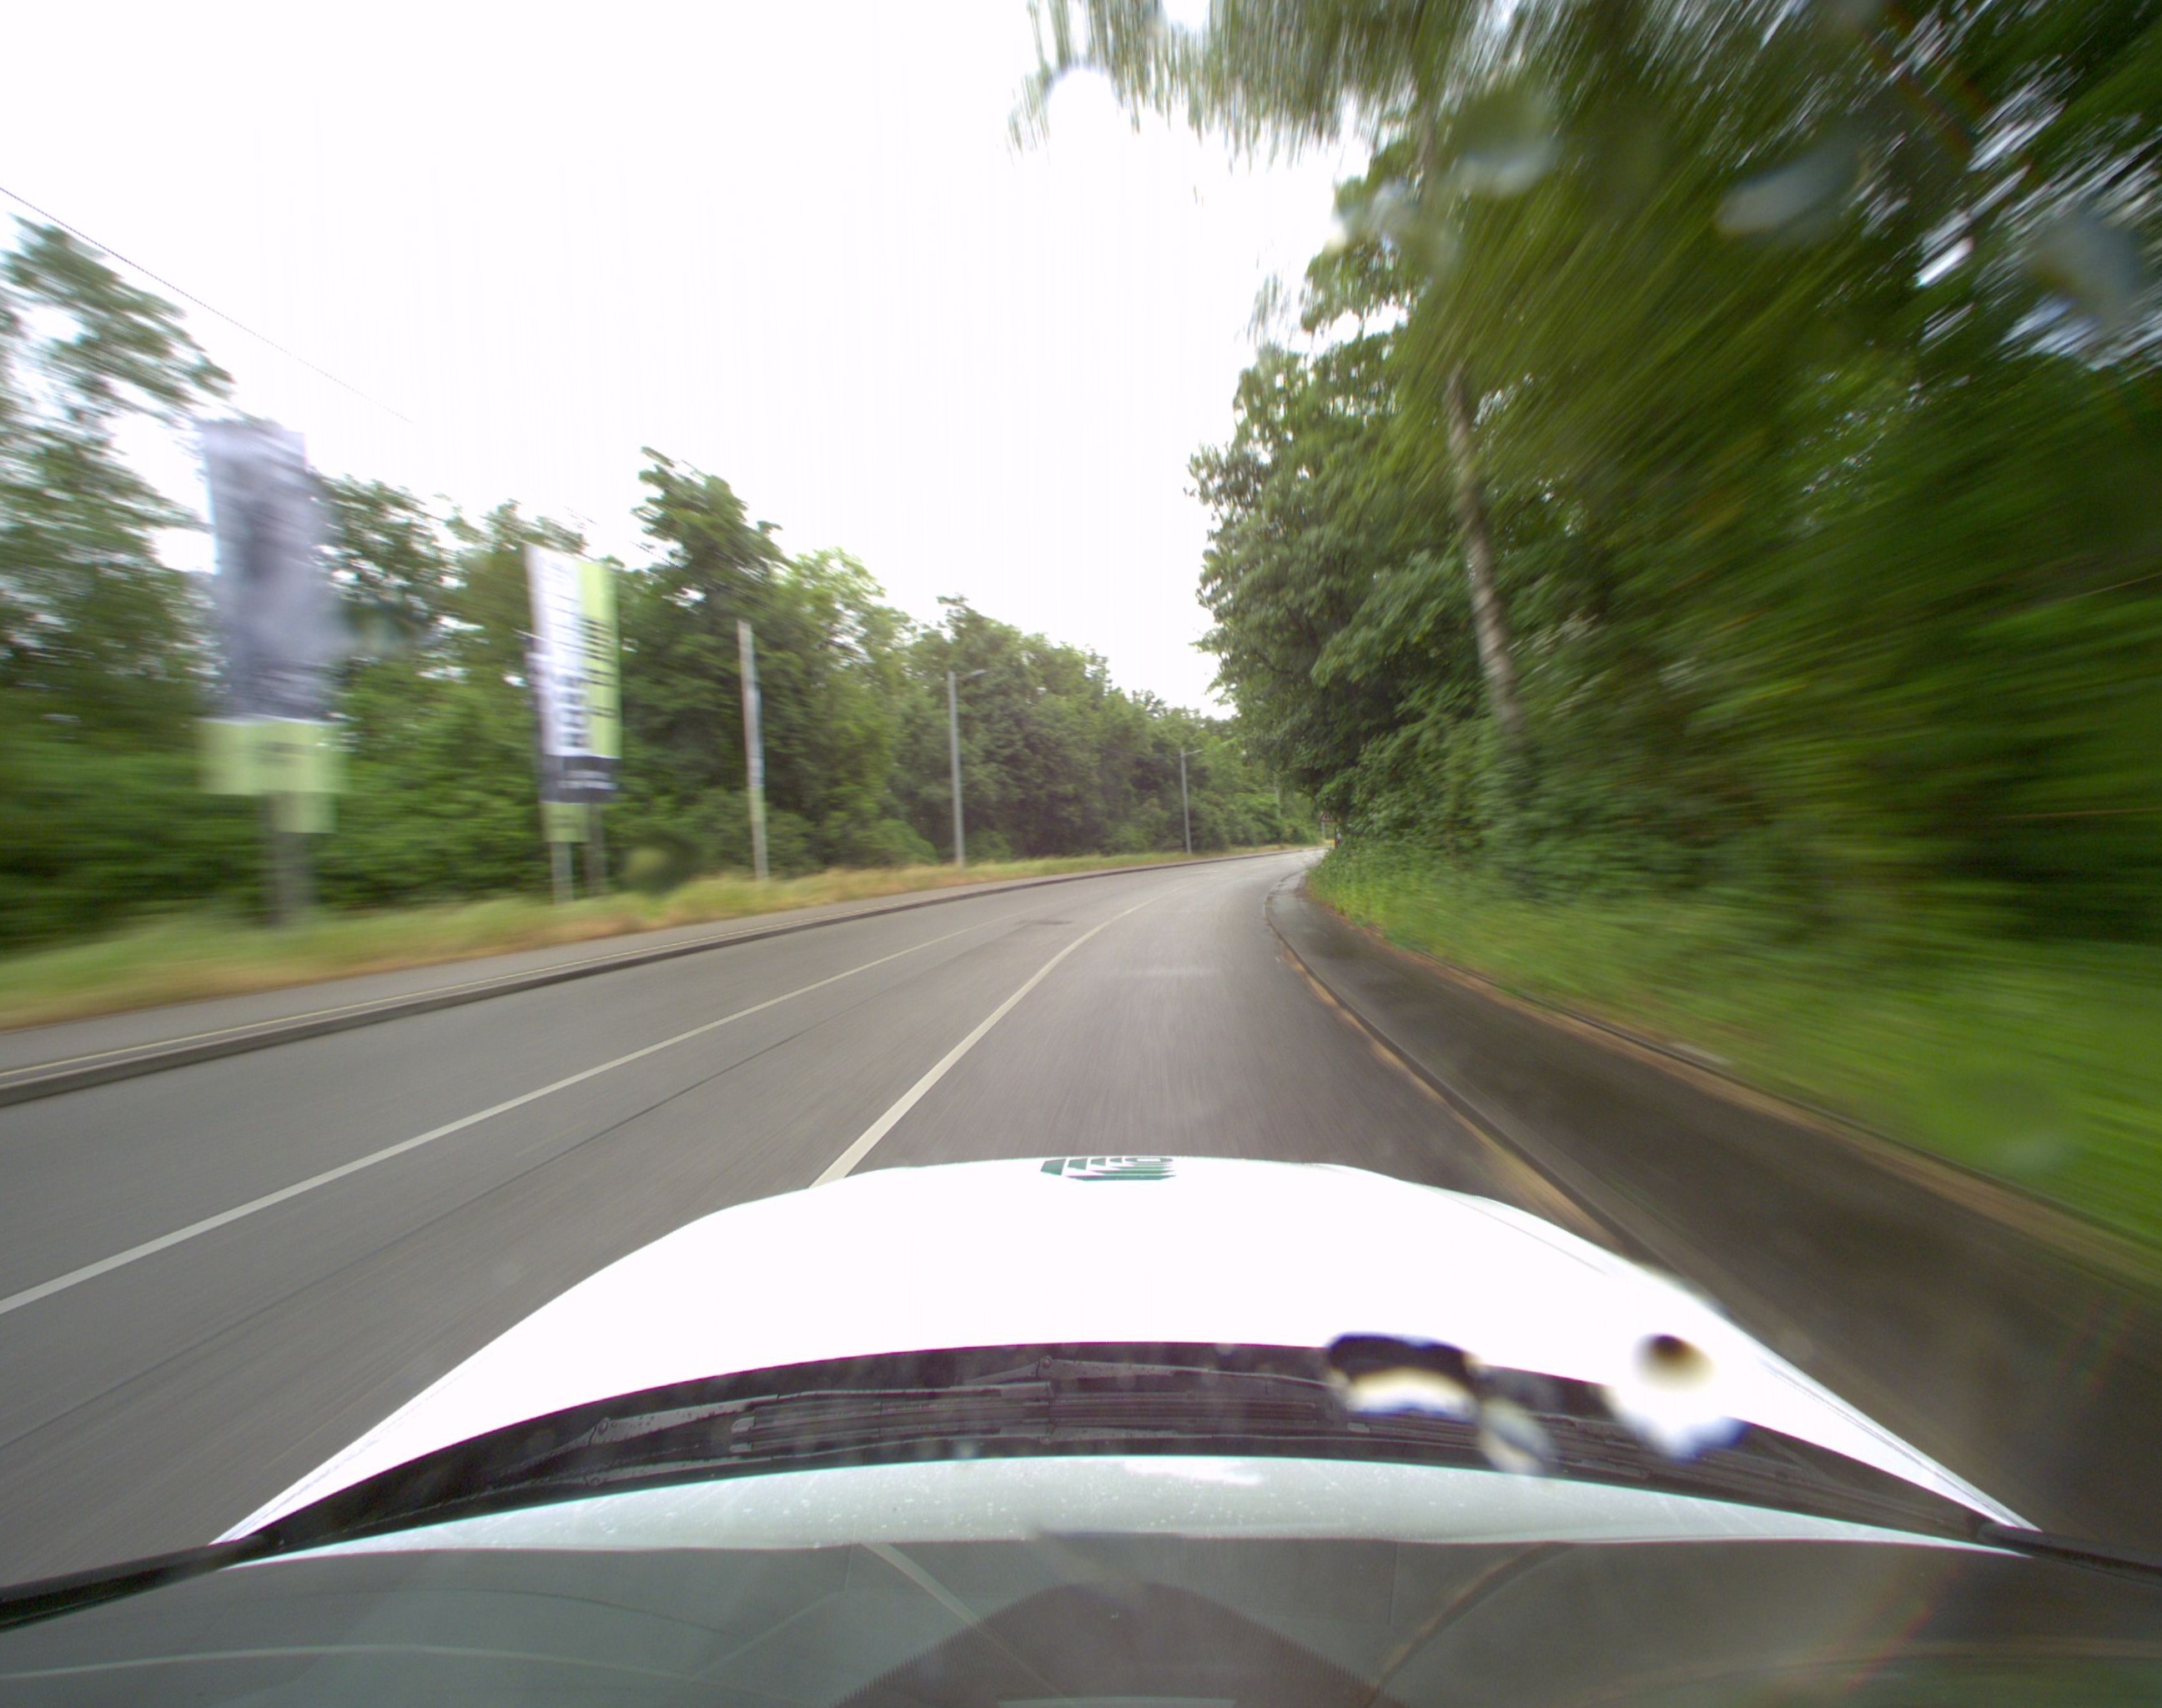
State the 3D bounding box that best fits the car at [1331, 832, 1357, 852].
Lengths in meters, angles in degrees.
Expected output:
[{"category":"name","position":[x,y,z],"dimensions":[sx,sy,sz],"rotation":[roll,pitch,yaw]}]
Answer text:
[{"category":"car","position":[23.488,-1.077,72.662],"dimensions":[1.652,1.593,3.705],"rotation":[-3,0,26]}]
